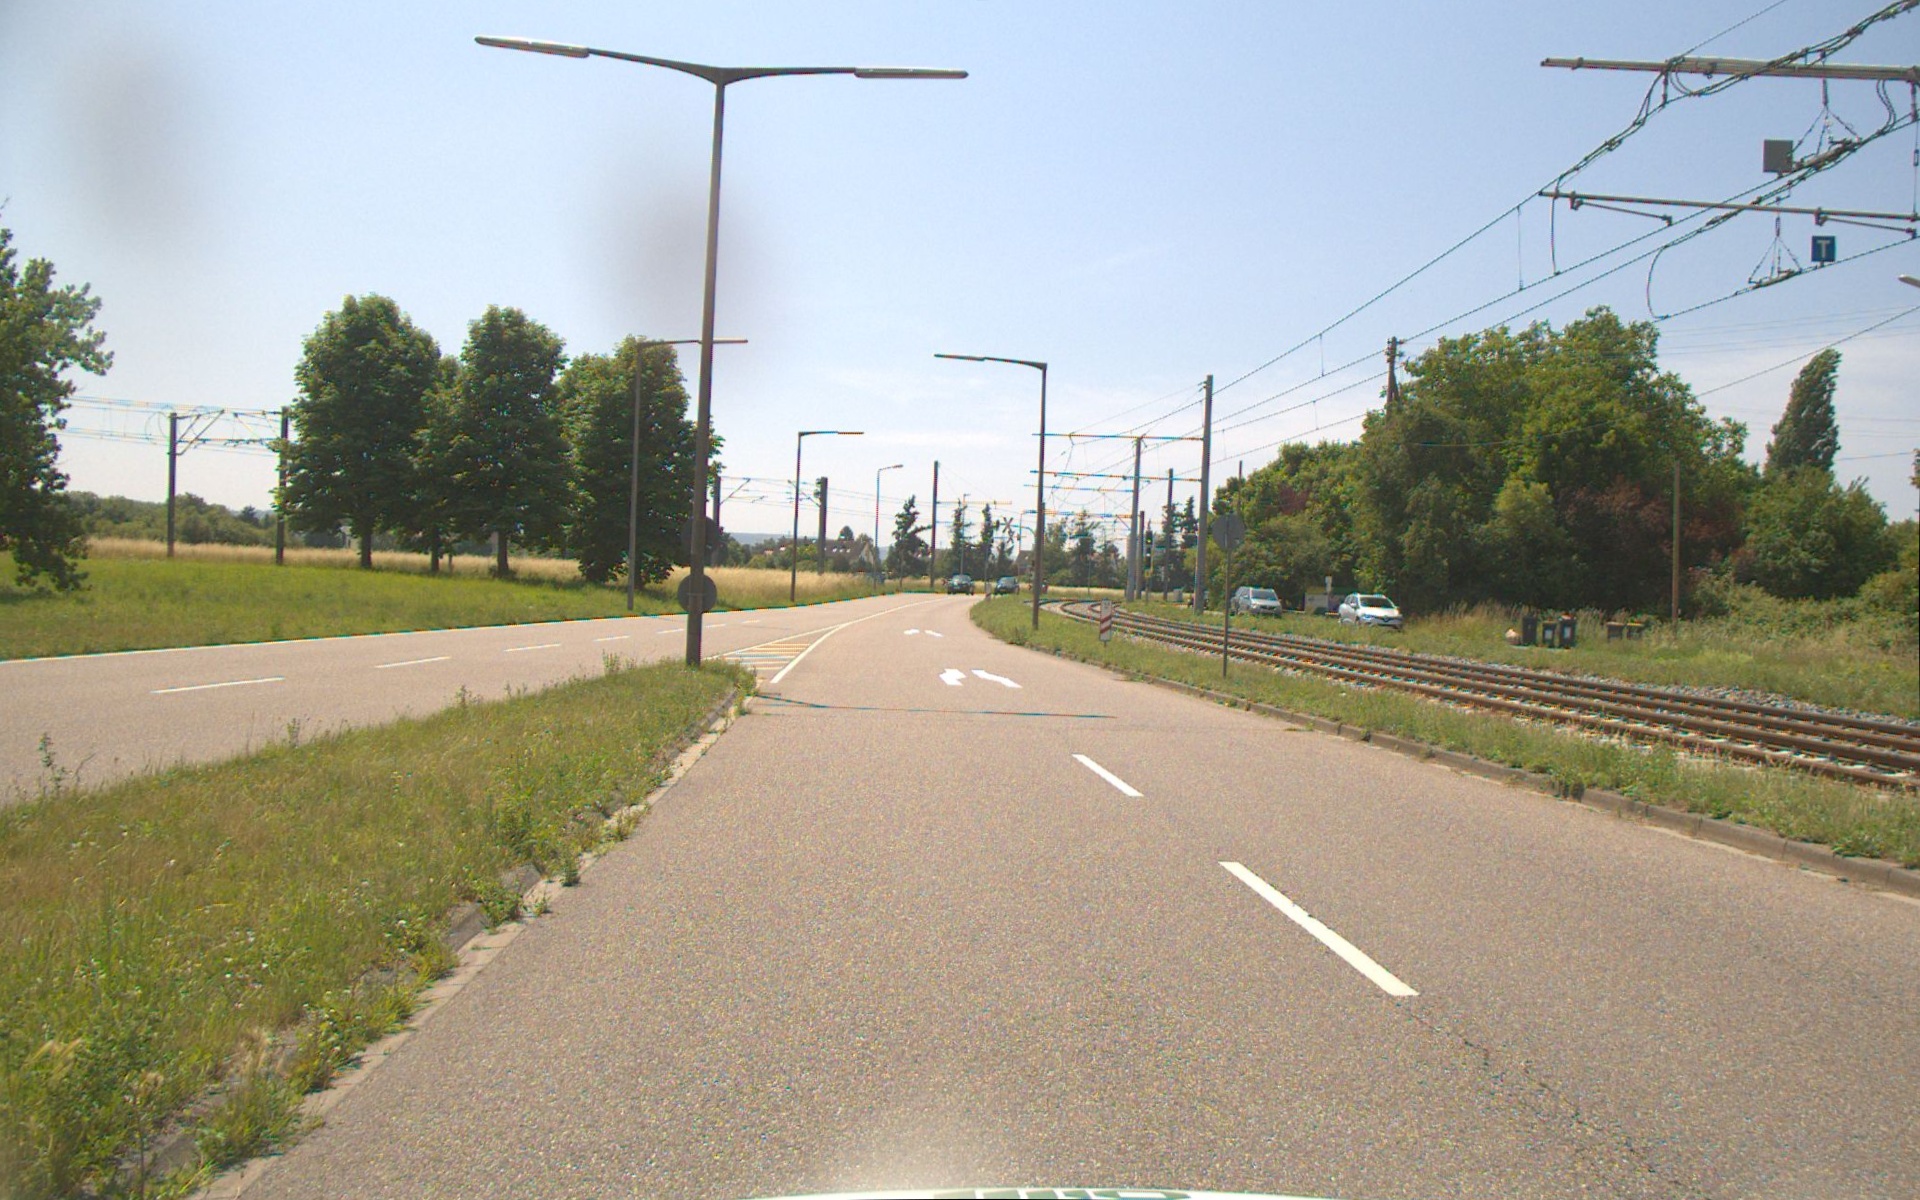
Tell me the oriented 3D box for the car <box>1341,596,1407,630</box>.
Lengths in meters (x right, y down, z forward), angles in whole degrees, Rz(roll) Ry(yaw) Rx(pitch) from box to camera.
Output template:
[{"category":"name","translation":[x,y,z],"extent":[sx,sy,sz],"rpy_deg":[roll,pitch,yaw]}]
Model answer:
[{"category":"car","translation":[15.713,0.466,62.951],"extent":[1.531,1.200,3.077],"rpy_deg":[2,1,-4]}]

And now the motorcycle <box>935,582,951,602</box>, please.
[{"category":"motorcycle","translation":[-1.441,-0.652,141.700],"extent":[0.968,1.608,3.402],"rpy_deg":[4,0,5]}]

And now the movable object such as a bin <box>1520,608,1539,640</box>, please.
[{"category":"movable object such as a bin","translation":[19.308,0.814,56.102],"extent":[0.513,1.068,0.500],"rpy_deg":[2,0,9]}]

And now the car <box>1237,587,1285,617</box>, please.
[{"category":"car","translation":[15.707,0.115,86.489],"extent":[1.638,1.421,3.649],"rpy_deg":[4,0,-2]}]

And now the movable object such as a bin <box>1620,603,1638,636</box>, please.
[{"category":"movable object such as a bin","translation":[22.389,0.659,55.356],"extent":[0.439,1.068,0.500],"rpy_deg":[2,0,10]}]

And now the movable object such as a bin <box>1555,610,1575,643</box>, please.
[{"category":"movable object such as a bin","translation":[20.424,0.890,55.865],"extent":[0.513,1.068,0.500],"rpy_deg":[2,0,9]}]

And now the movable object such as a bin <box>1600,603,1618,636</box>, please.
[{"category":"movable object such as a bin","translation":[21.785,0.659,55.508],"extent":[0.439,1.068,0.500],"rpy_deg":[2,0,10]}]

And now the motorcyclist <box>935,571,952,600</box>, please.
[{"category":"motorcyclist","translation":[-1.382,-1.238,141.982],"extent":[1.205,2.391,1.107],"rpy_deg":[4,0,5]}]

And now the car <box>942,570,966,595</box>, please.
[{"category":"car","translation":[-0.440,-1.398,132.168],"extent":[1.374,1.802,3.257],"rpy_deg":[4,0,8]}]

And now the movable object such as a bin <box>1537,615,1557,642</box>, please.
[{"category":"movable object such as a bin","translation":[19.874,0.954,56.003],"extent":[0.513,0.879,0.500],"rpy_deg":[2,0,9]}]
